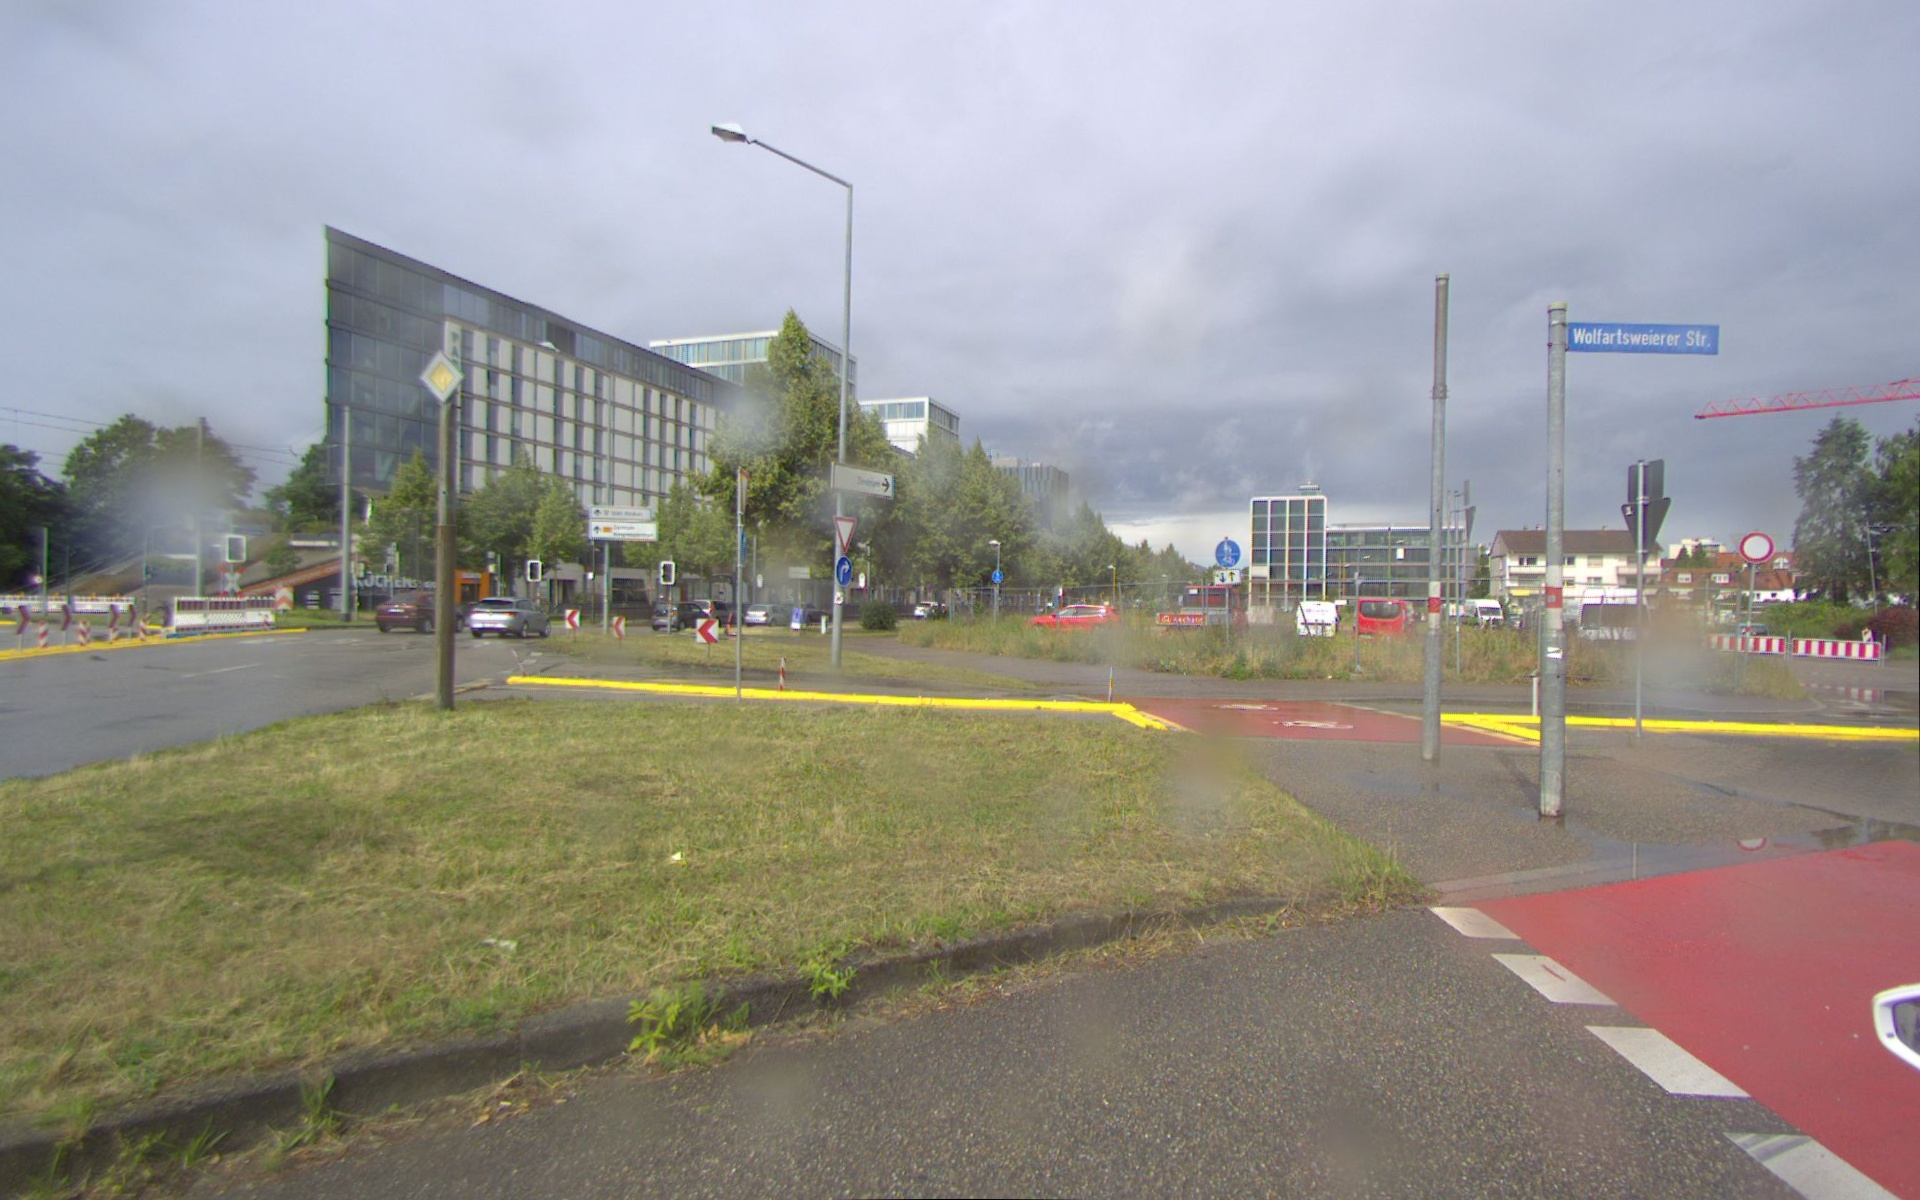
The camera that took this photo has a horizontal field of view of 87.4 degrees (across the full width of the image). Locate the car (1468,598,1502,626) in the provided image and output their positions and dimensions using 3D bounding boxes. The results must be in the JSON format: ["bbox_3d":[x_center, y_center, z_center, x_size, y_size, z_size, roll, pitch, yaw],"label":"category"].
[{"bbox_3d":[43.220,0.947,82.616,2.337,2.113,4.961,1,2,29],"label":"car"}]

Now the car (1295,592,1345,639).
[{"bbox_3d":[14.702,0.576,41.058,1.821,1.723,3.999,1,2,20],"label":"car"}]

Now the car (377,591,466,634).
[{"bbox_3d":[-19.625,0.450,36.794,1.689,1.482,3.993,0,-1,-10],"label":"car"}]

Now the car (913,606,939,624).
[{"bbox_3d":[-3.080,1.376,91.789,1.470,1.530,3.502,3,0,13],"label":"car"}]

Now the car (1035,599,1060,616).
[{"bbox_3d":[10.984,0.937,126.091,1.961,2.040,3.999,1,0,22],"label":"car"}]

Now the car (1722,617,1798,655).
[{"bbox_3d":[47.879,2.118,60.251,1.959,2.152,4.002,1,0,12],"label":"car"}]

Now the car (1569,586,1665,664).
[{"bbox_3d":[20.612,0.669,31.747,2.006,2.113,6.254,1,2,29],"label":"car"}]

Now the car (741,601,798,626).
[{"bbox_3d":[-11.376,0.793,60.123,1.669,1.386,3.846,1,0,18],"label":"car"}]

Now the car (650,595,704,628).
[{"bbox_3d":[-14.152,0.570,50.407,1.519,1.581,3.501,1,0,4],"label":"car"}]

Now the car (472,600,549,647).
[{"bbox_3d":[-15.952,0.806,35.800,1.570,1.581,3.545,0,0,-8],"label":"car"}]

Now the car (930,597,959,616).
[{"bbox_3d":[-1.305,0.597,86.943,1.470,1.530,3.501,2,0,16],"label":"car"}]

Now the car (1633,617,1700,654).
[{"bbox_3d":[43.847,2.157,62.409,1.959,2.152,4.002,1,0,12],"label":"car"}]

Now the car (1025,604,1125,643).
[{"bbox_3d":[5.112,1.008,44.482,4.108,1.531,1.858,1,2,17],"label":"car"}]

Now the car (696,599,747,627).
[{"bbox_3d":[-13.944,0.716,58.928,1.519,1.581,3.502,1,0,13],"label":"car"}]

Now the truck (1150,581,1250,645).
[{"bbox_3d":[9.717,0.420,40.226,2.354,2.241,6.090,1,2,28],"label":"truck"}]

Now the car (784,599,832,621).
[{"bbox_3d":[-10.400,0.675,68.840,1.669,1.386,3.846,1,0,18],"label":"car"}]

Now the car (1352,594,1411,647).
[{"bbox_3d":[15.767,0.704,37.503,1.893,1.723,3.996,1,2,24],"label":"car"}]
